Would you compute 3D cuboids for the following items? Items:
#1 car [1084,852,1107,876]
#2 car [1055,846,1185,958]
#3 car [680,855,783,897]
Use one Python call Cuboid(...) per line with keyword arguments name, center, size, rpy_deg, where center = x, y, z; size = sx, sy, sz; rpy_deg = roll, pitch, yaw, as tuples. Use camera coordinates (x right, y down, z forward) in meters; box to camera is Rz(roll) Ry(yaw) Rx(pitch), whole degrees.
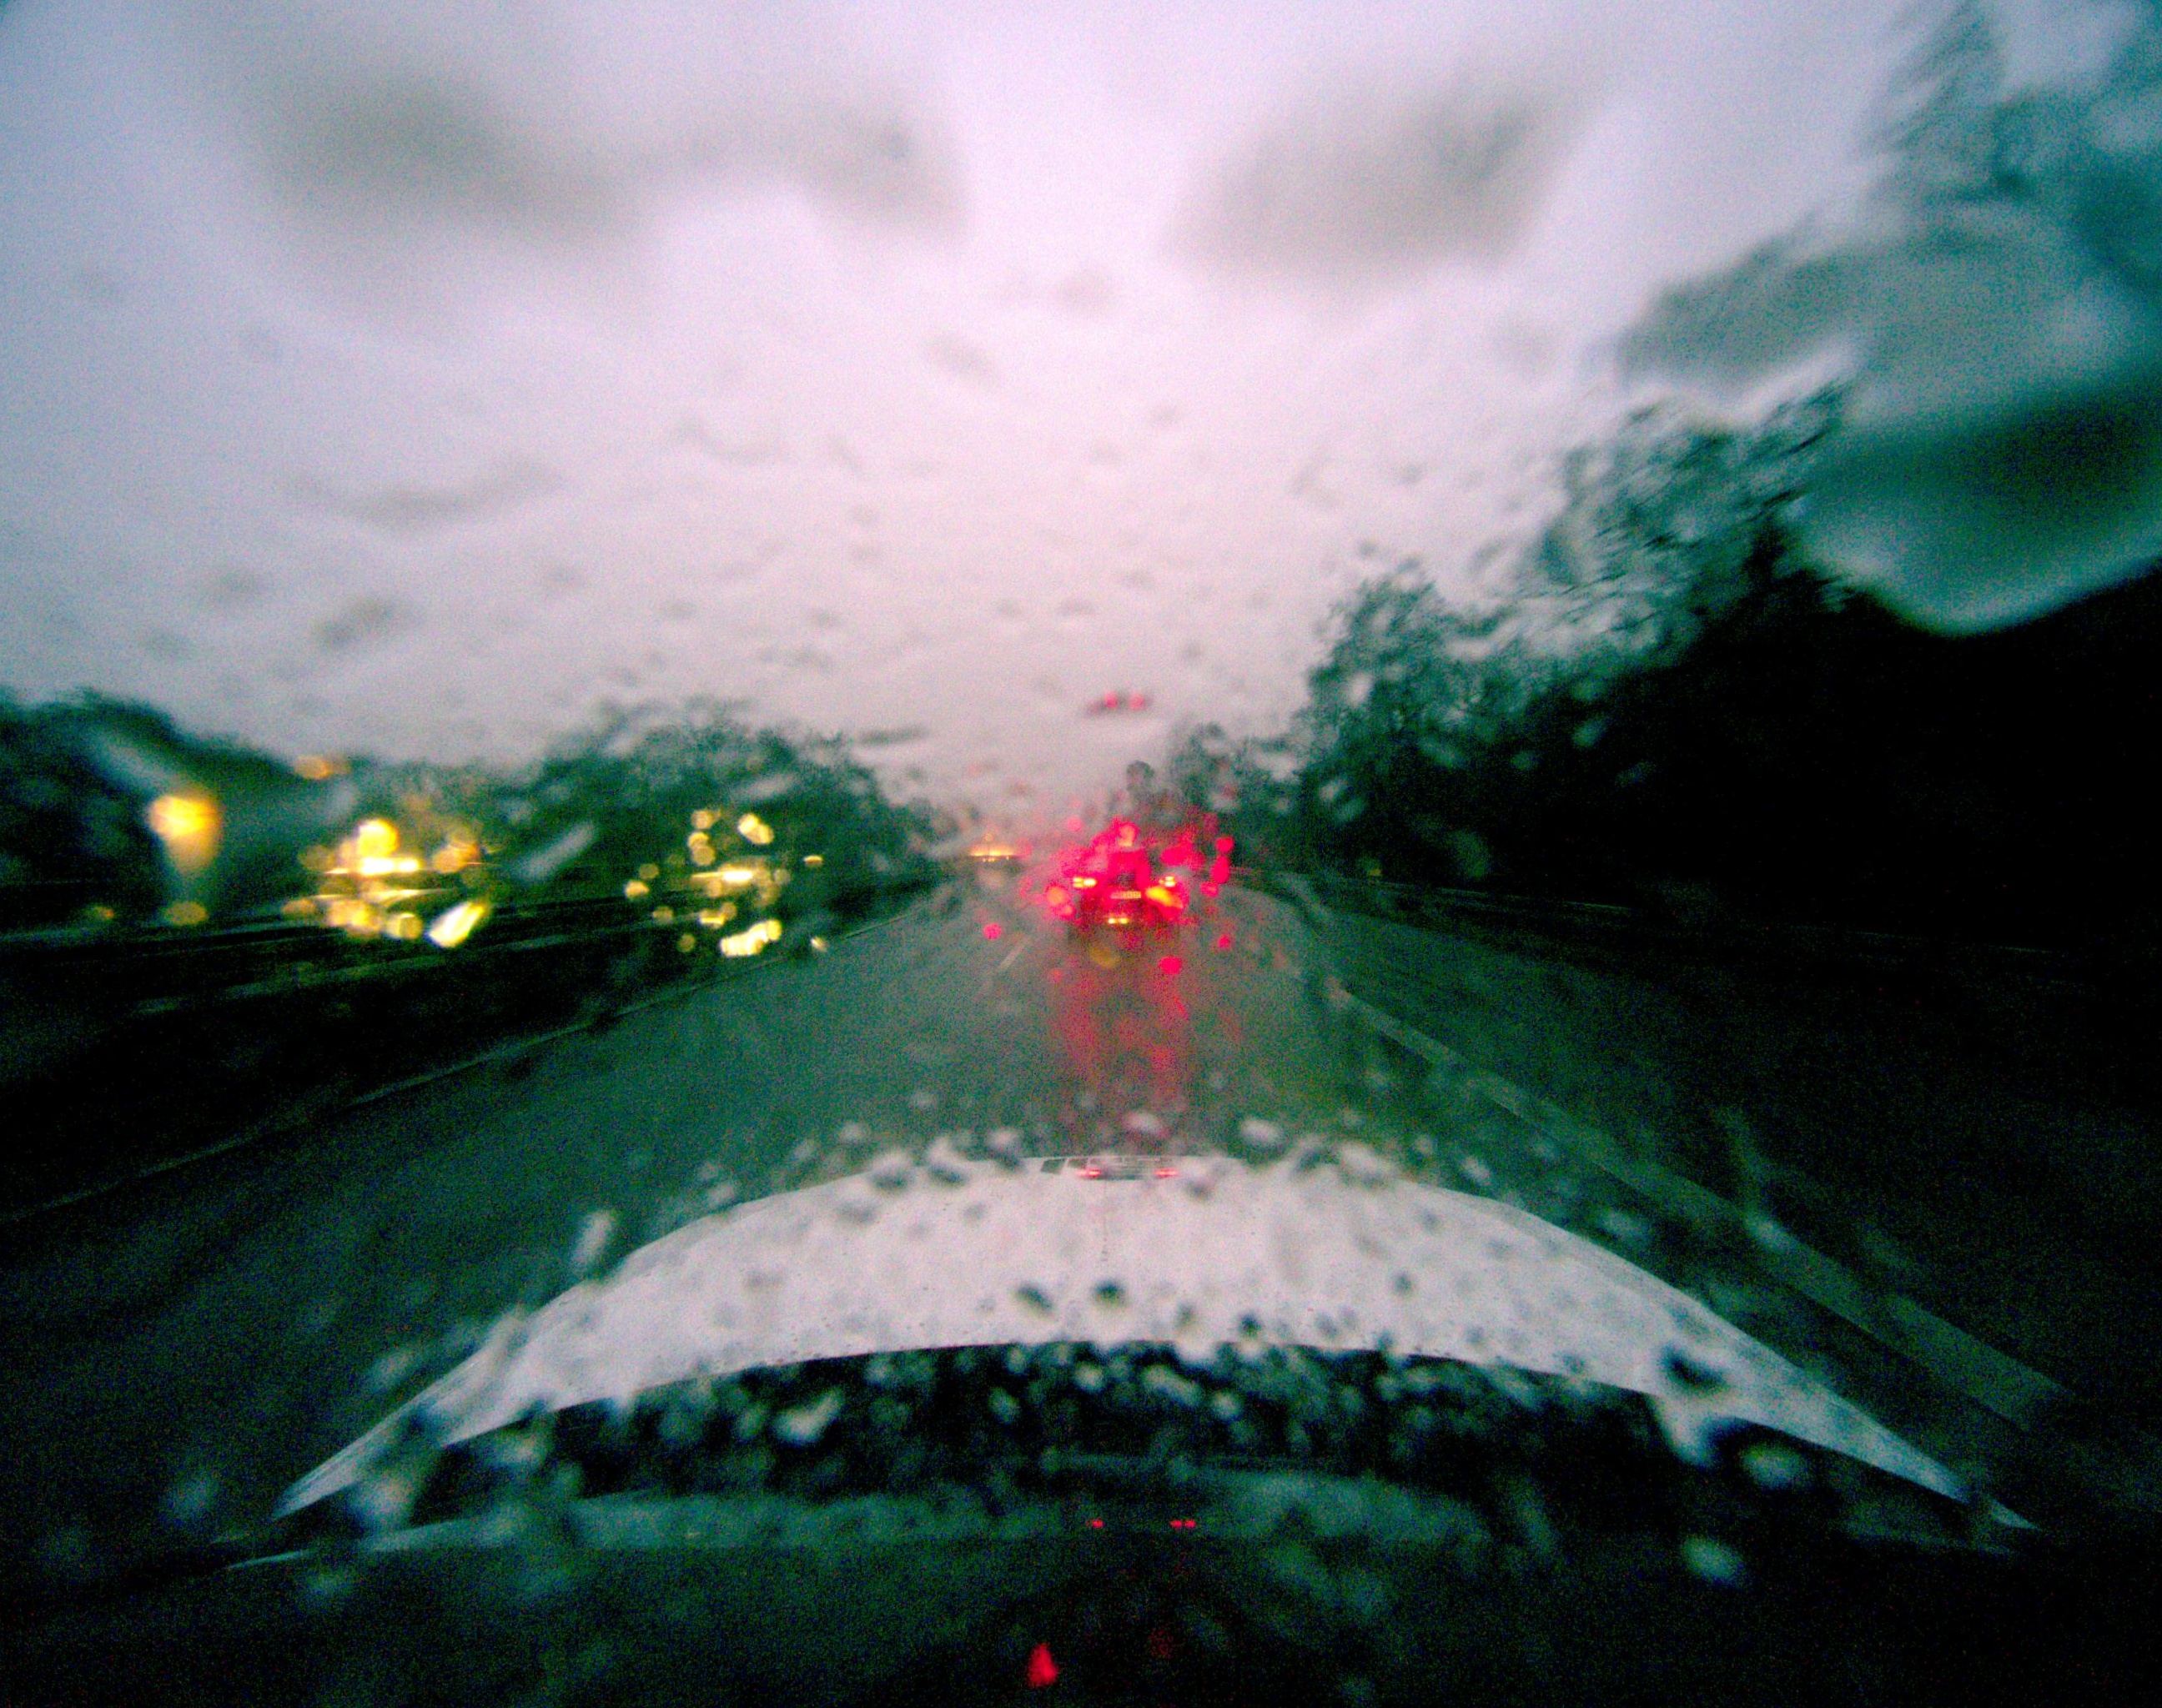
Cuboid(name="car", center=(1.248, 0.833, 71.518), size=(1.987, 2.013, 3.999), rpy_deg=(-1, 0, 0))
Cuboid(name="car", center=(0.604, 0.741, 14.465), size=(1.985, 1.715, 3.829), rpy_deg=(-1, 0, 0))
Cuboid(name="car", center=(-14.398, 0.847, 33.890), size=(1.986, 1.589, 4.960), rpy_deg=(-1, 0, 1))
